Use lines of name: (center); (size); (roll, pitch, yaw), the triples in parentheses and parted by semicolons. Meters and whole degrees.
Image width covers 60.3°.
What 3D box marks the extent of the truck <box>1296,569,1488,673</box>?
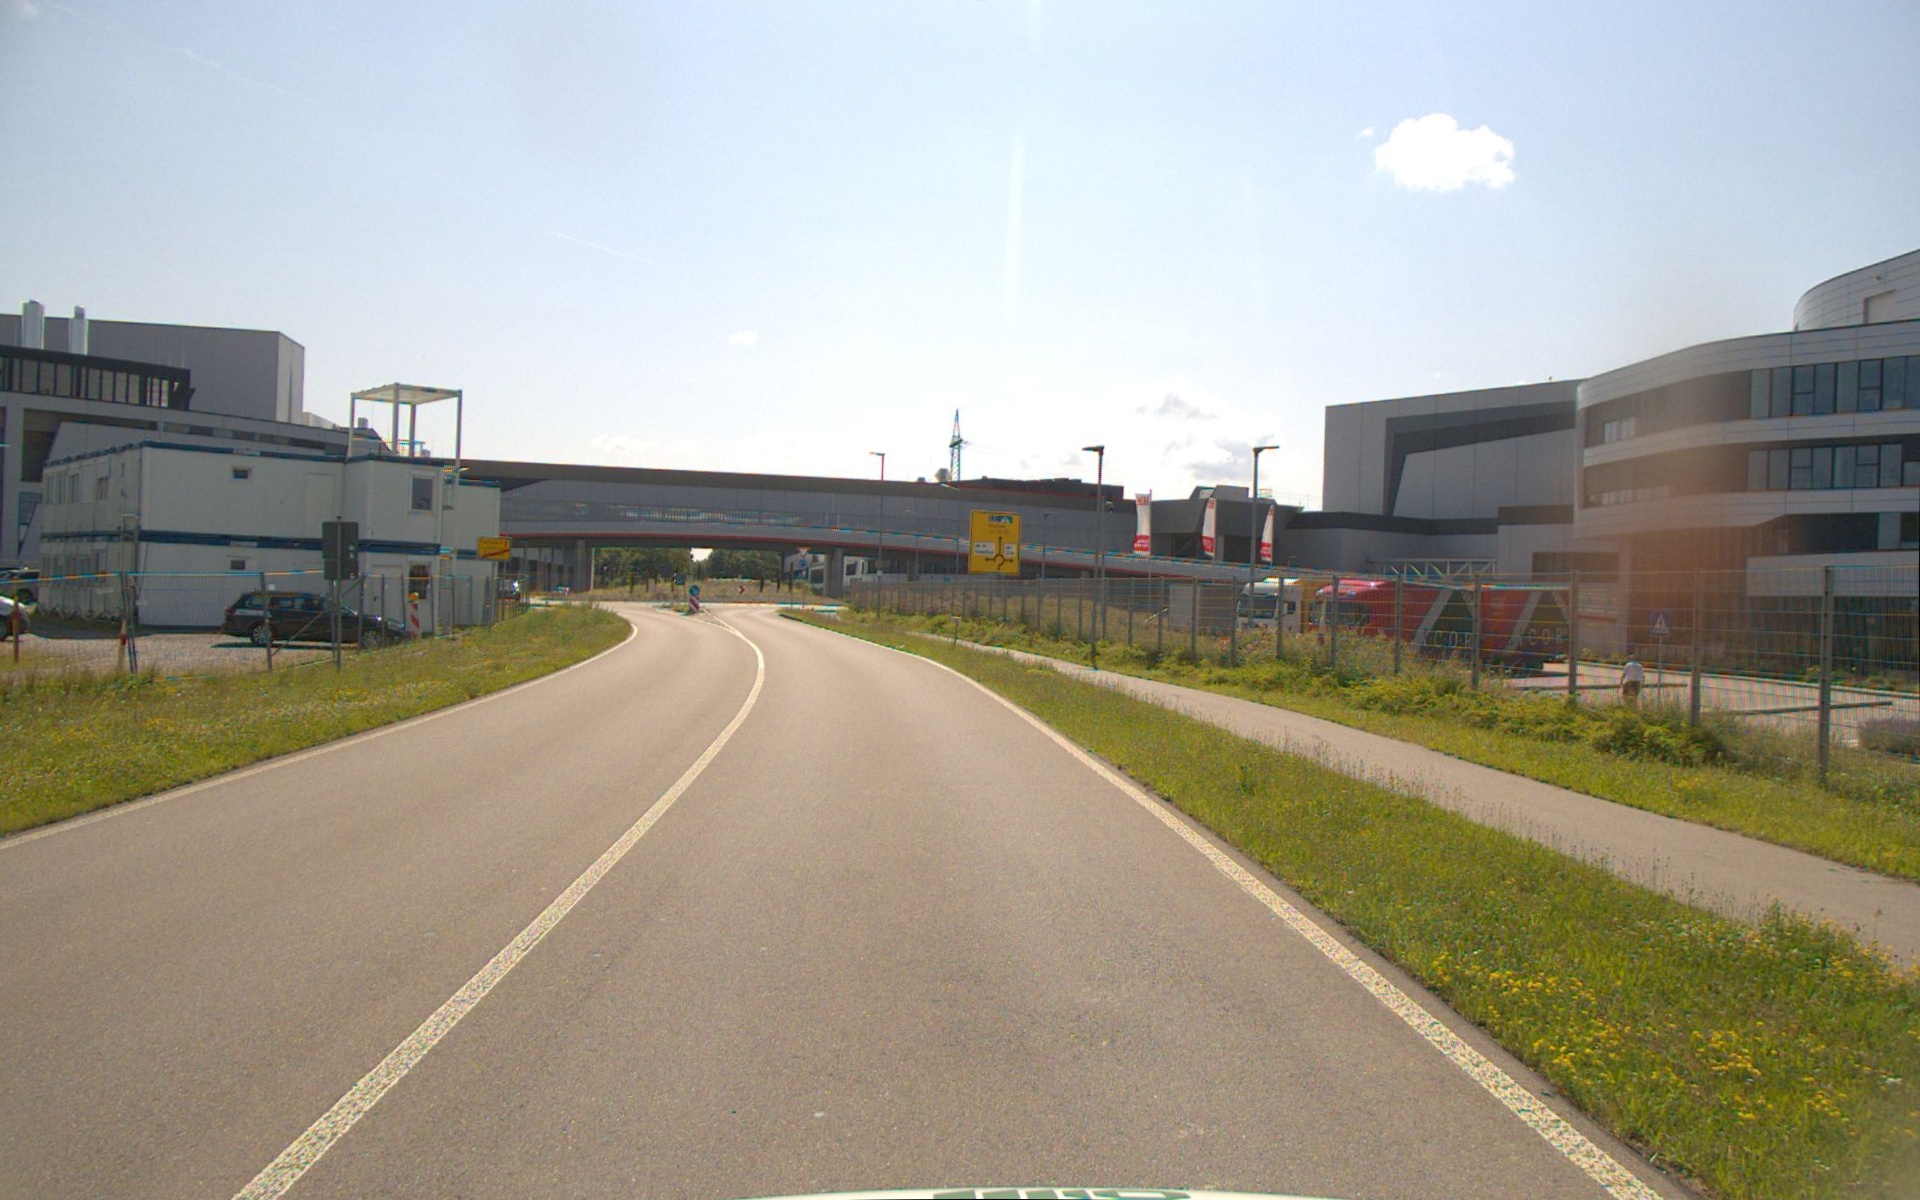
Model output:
truck: (19.327, 0.923, 73.400); (10.886, 4.331, 2.981); (1, 0, -43)

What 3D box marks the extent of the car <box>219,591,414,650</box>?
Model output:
car: (-17.696, 0.563, 45.717); (4.894, 1.441, 1.989); (2, 1, -20)

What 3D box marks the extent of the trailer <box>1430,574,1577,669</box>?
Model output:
trailer: (26.408, 1.039, 80.075); (8.643, 4.371, 2.982); (1, -1, -43)

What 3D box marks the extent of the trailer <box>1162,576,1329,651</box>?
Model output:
trailer: (18.346, 0.887, 105.076); (13.952, 4.515, 2.722); (1, -1, -44)

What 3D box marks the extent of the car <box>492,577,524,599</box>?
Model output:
car: (-32.817, -0.871, 120.090); (1.680, 1.508, 3.971); (1, 0, -23)

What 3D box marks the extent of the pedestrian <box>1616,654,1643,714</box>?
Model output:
pedestrian: (19.339, 2.426, 47.795); (0.474, 1.682, 0.573); (2, 0, -6)

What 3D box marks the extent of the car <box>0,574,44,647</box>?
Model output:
car: (-27.223, 0.219, 43.716); (4.973, 1.899, 1.972); (2, 0, -40)

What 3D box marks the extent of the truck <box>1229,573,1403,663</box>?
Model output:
truck: (17.870, 0.899, 82.422); (10.882, 4.245, 2.779); (1, -1, -43)
